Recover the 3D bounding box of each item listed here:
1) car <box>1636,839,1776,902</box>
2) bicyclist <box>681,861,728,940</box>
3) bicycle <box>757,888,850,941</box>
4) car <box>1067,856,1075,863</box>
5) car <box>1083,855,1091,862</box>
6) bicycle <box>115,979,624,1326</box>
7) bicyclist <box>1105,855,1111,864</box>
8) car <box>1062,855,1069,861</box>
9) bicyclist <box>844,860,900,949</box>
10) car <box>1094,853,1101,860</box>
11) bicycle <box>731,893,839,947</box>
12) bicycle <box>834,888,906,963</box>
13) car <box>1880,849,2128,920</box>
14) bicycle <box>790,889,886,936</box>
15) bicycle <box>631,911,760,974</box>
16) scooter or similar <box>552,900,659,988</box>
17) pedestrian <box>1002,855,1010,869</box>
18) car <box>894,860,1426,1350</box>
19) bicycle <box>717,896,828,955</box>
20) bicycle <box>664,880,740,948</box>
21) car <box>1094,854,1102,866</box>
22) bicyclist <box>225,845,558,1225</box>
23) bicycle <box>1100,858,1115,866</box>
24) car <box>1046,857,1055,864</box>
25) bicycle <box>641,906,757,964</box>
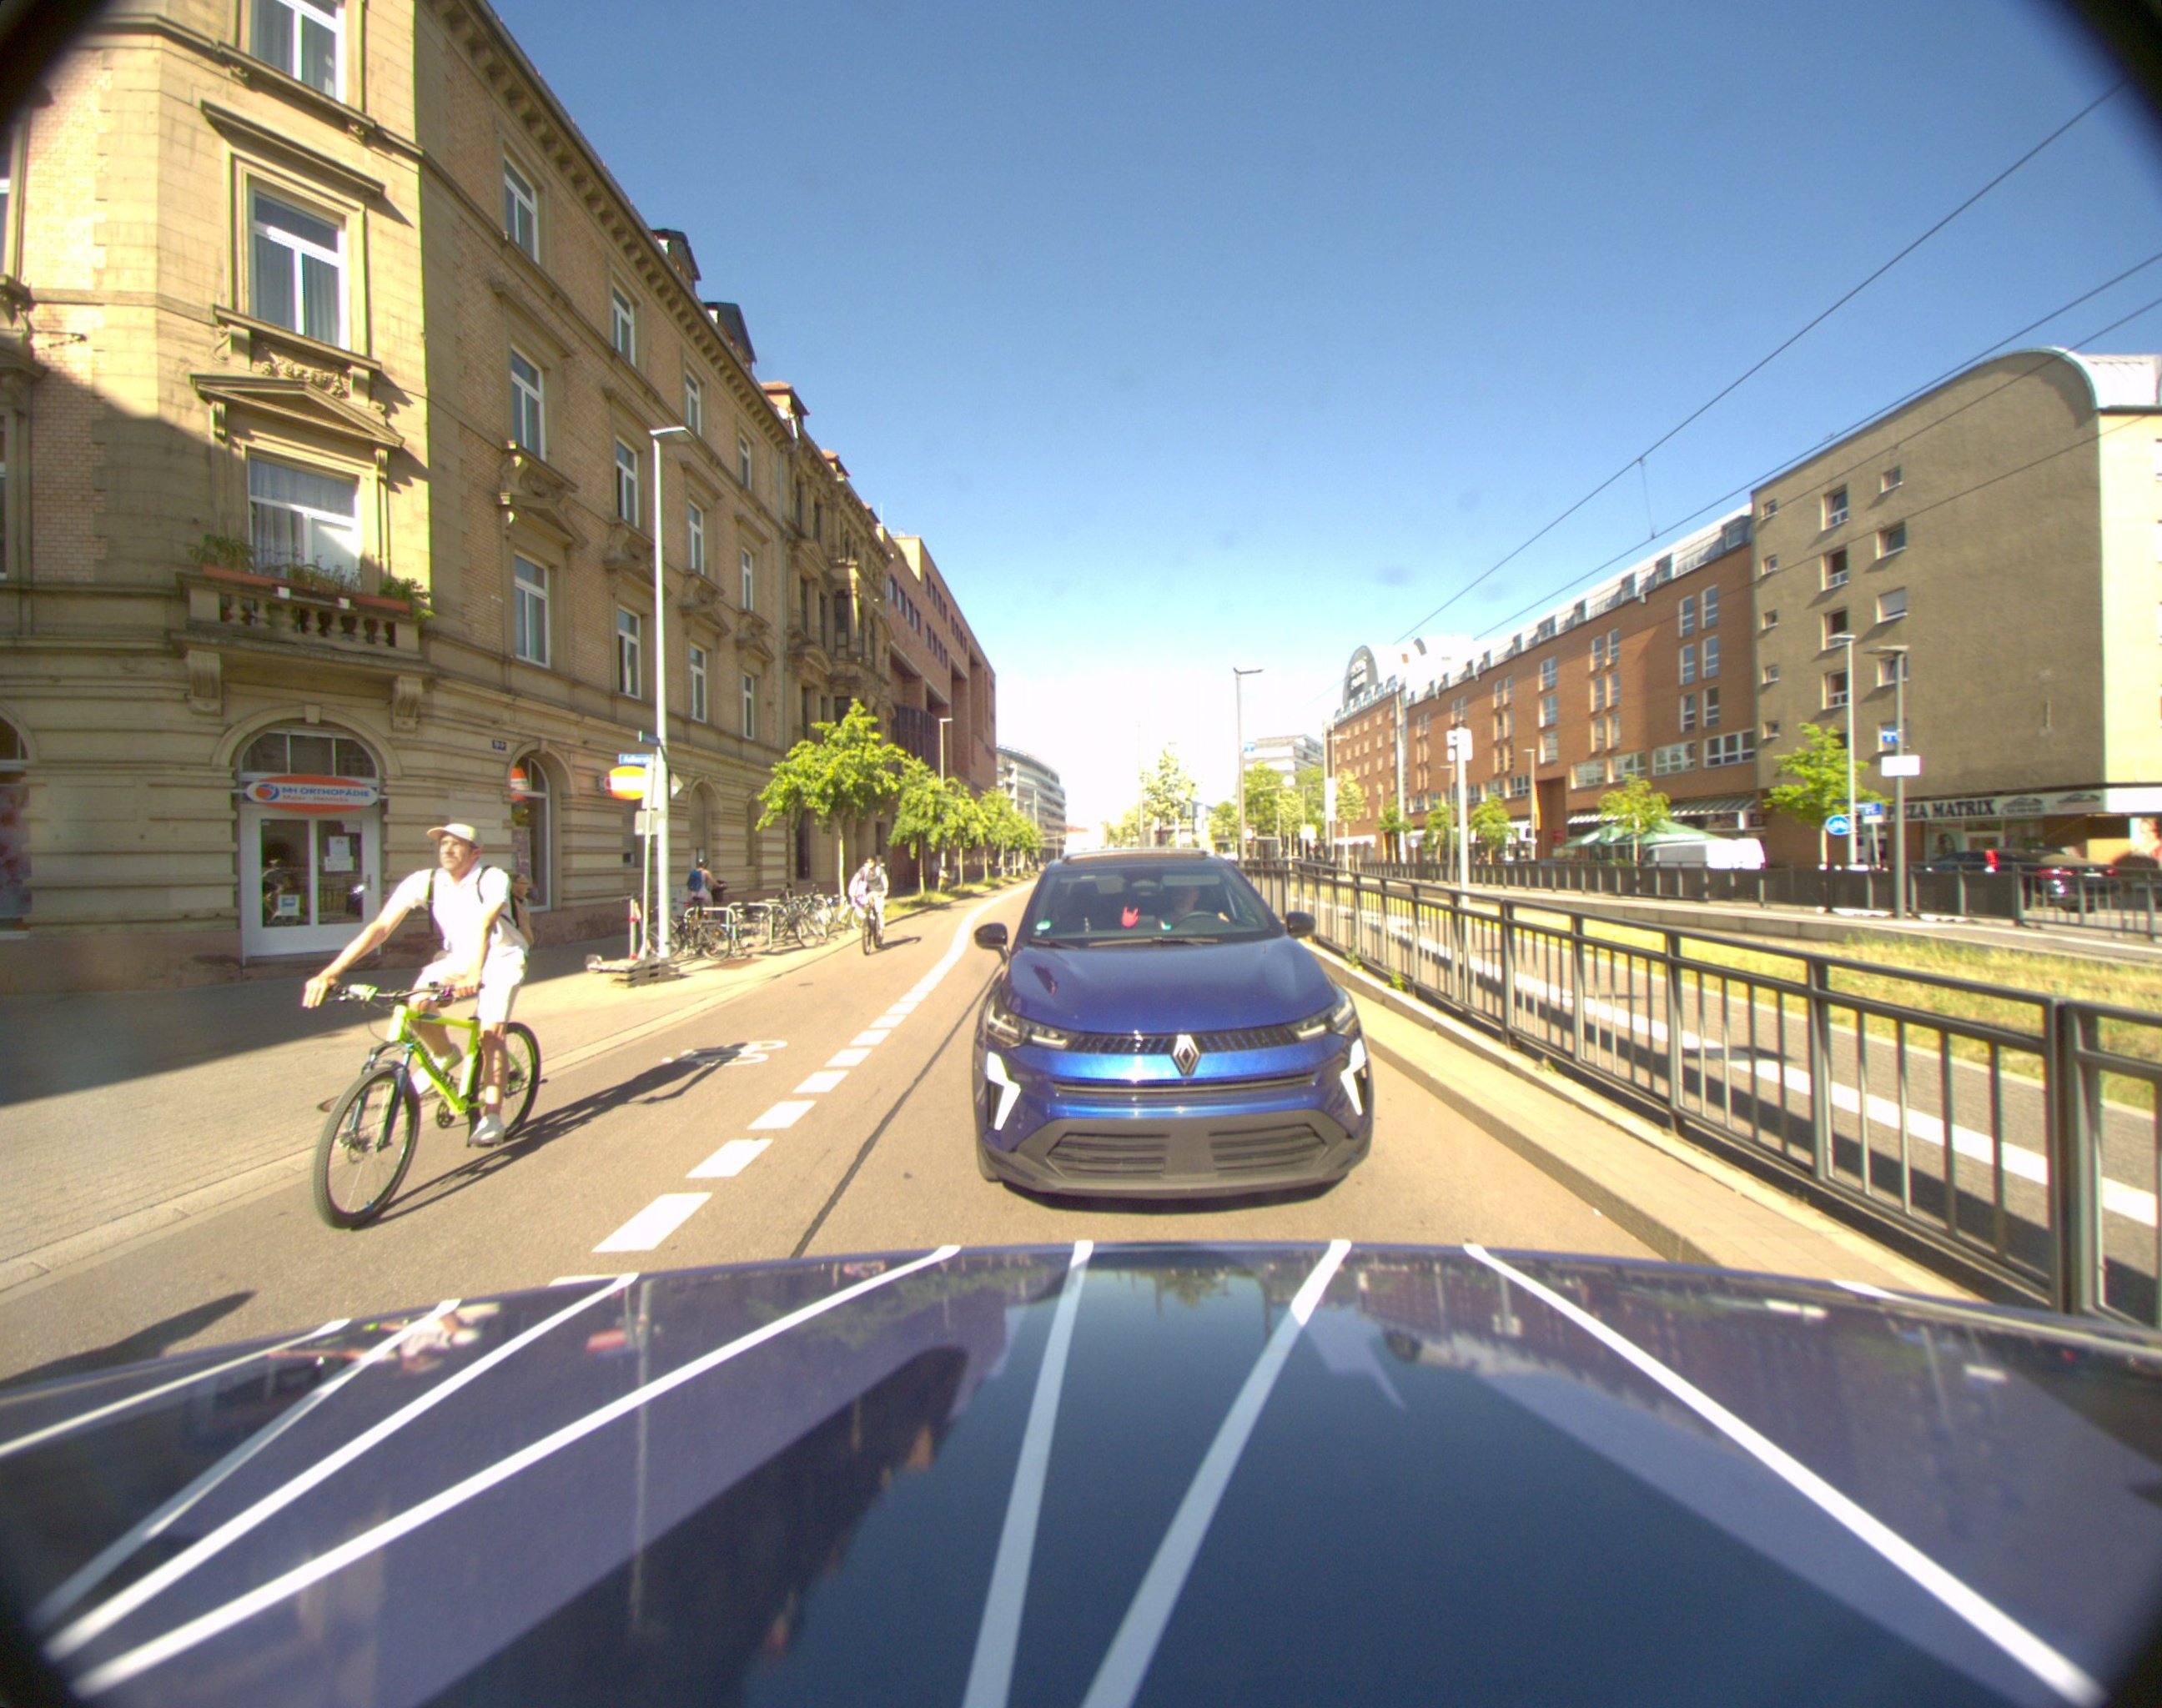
[{"bbox_3d":[25.337,0.579,31.098,1.997,2.283,5.192,-2,1,9],"label":"car"},{"bbox_3d":[-7.961,0.966,16.082,0.579,1.608,0.794,-1,1,-2],"label":"bicyclist"},{"bbox_3d":[-6.311,1.365,17.367,1.678,1.055,1.134,3,1,-1],"label":"bicycle"},{"bbox_3d":[-2.202,1.218,173.696,1.745,1.543,4.000,-1,0,1],"label":"car"},{"bbox_3d":[1.324,1.097,172.334,1.745,1.543,4.000,-1,0,1],"label":"car"},{"bbox_3d":[-3.338,1.318,3.914,0.725,1.000,1.952,-2,0,1],"label":"bicycle"},{"bbox_3d":[3.848,0.830,108.783,0.741,1.301,0.637,-1,0,-6],"label":"bicyclist"},{"bbox_3d":[-3.845,1.038,189.664,1.745,1.543,4.000,-1,0,1],"label":"car"},{"bbox_3d":[-3.898,0.922,14.229,0.725,1.595,0.895,-2,0,1],"label":"bicyclist"},{"bbox_3d":[4.018,0.644,186.273,1.745,1.543,4.000,-1,0,0],"label":"car"},{"bbox_3d":[-6.271,1.390,16.221,1.903,1.024,1.030,1,1,-2],"label":"bicycle"},{"bbox_3d":[-3.884,1.284,14.129,0.725,1.187,1.952,-2,0,1],"label":"bicycle"},{"bbox_3d":[24.212,0.714,20.201,1.699,1.630,3.999,-2,1,-1],"label":"car"},{"bbox_3d":[-5.982,1.431,18.769,2.062,1.036,0.847,2,1,0],"label":"bicycle"},{"bbox_3d":[-6.332,1.436,12.496,1.905,0.906,0.592,1,2,9],"label":"bicycle"},{"bbox_3d":[-6.850,1.285,10.980,1.199,1.191,0.487,-1,0,-4],"label":"scooter or similar"},{"bbox_3d":[-10.774,1.092,108.813,0.880,2.002,0.764,-1,1,22],"label":"pedestrian"},{"bbox_3d":[0.307,0.899,4.857,1.758,1.576,4.420,-4,0,1],"label":"car"},{"bbox_3d":[-5.938,1.371,14.707,1.876,1.043,0.608,1,1,-4],"label":"bicycle"},{"bbox_3d":[-7.964,1.229,16.086,0.579,1.246,2.097,-1,1,-2],"label":"bicycle"},{"bbox_3d":[3.528,1.282,159.054,1.758,2.471,4.610,-1,0,1],"label":"car"},{"bbox_3d":[-3.355,0.796,3.817,0.700,1.647,0.977,-2,0,1],"label":"bicyclist"},{"bbox_3d":[3.778,1.124,108.764,2.045,1.013,0.645,-1,0,-6],"label":"bicycle"},{"bbox_3d":[-7.035,1.396,174.387,1.745,1.543,4.000,-1,0,0],"label":"car"},{"bbox_3d":[-6.581,1.399,13.129,1.717,0.920,0.497,-1,1,1],"label":"bicycle"}]
